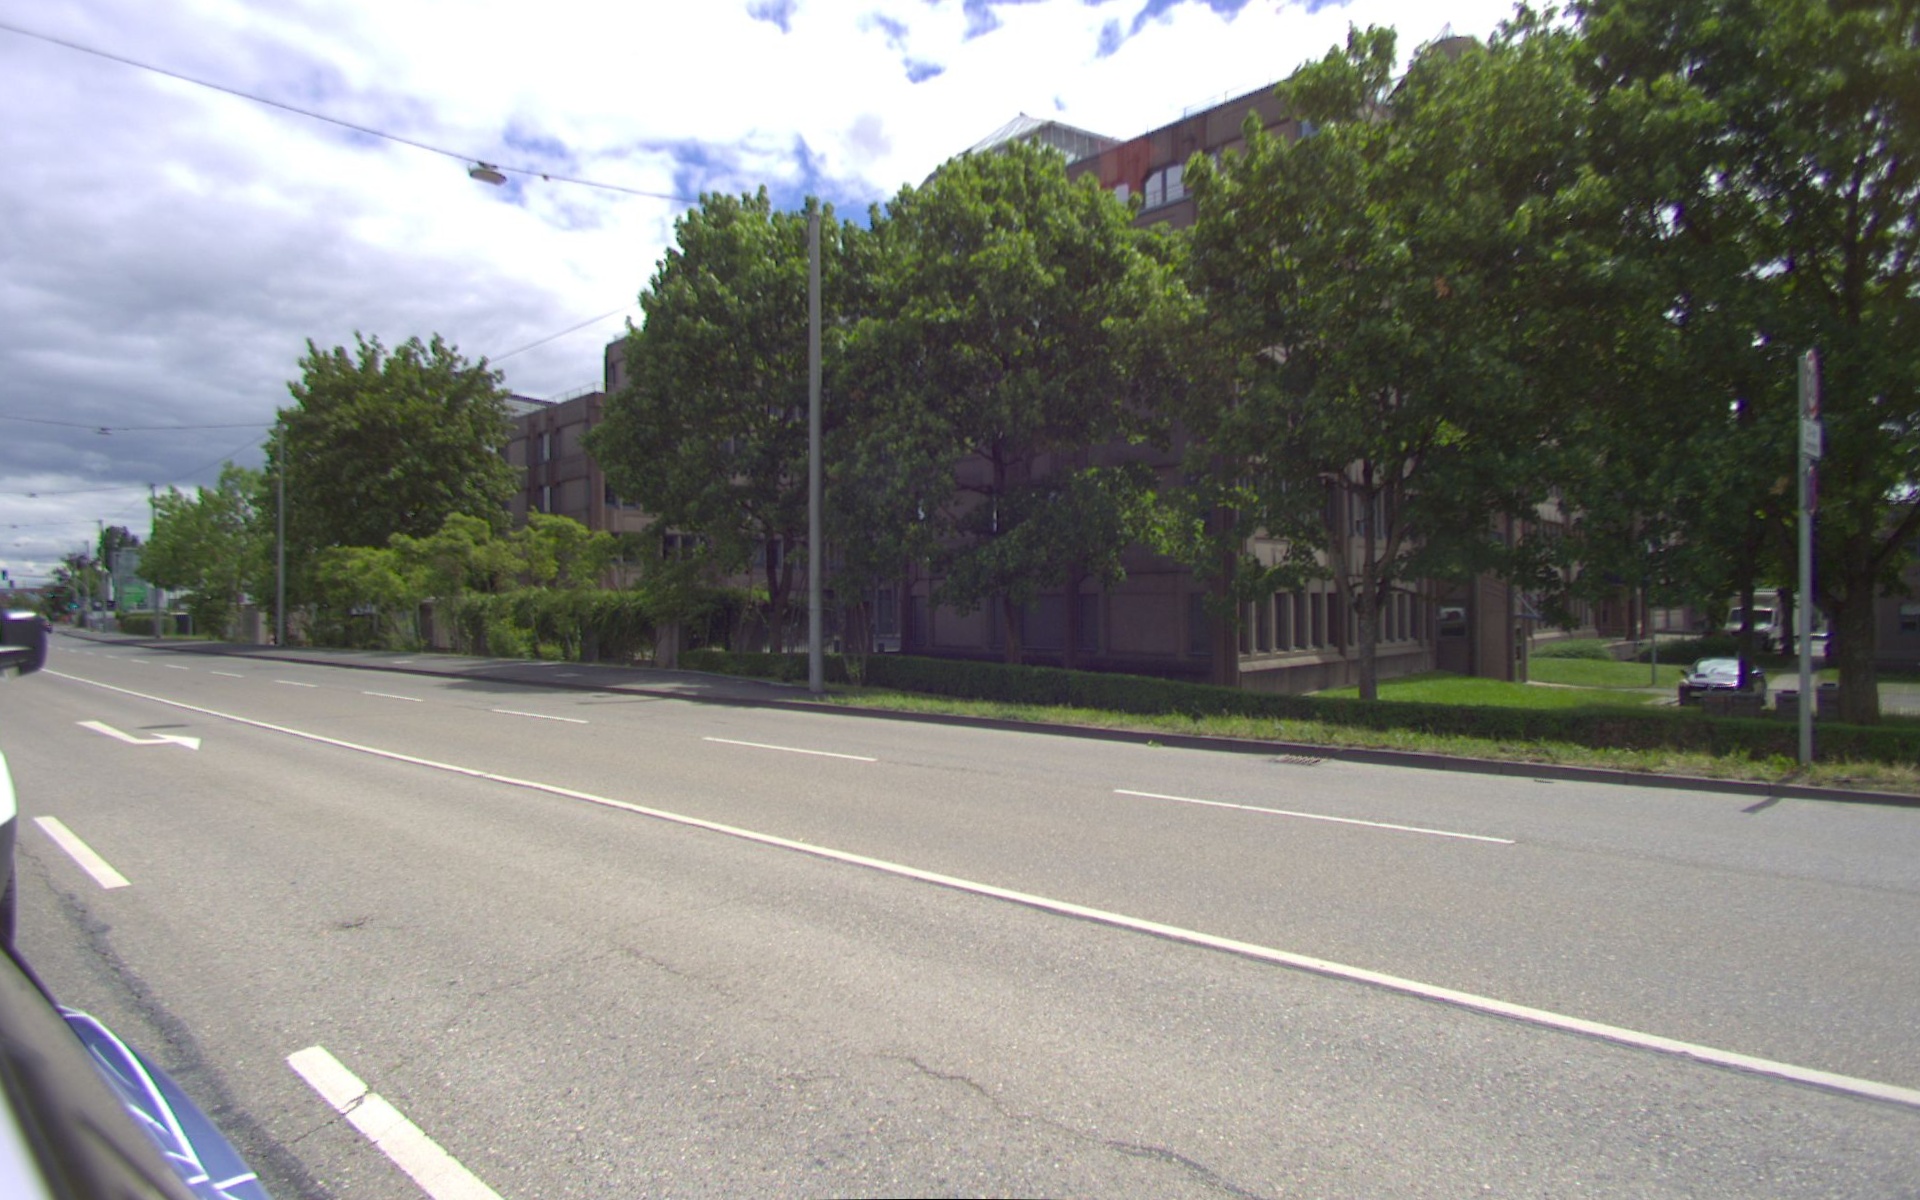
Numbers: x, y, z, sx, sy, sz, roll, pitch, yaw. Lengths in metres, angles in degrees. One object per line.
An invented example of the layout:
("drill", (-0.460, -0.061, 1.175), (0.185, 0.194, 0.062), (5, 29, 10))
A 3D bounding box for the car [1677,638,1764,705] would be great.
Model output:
("car", (22.182, 2.019, 29.460), (1.786, 1.741, 3.945), (0, -1, 41))

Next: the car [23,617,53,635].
("car", (-91.109, 2.564, 100.027), (4.572, 1.627, 1.847), (0, 0, 43))

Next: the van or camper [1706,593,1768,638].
("van or camper", (38.861, 0.722, 50.597), (2.355, 2.120, 5.138), (0, 0, 38))
